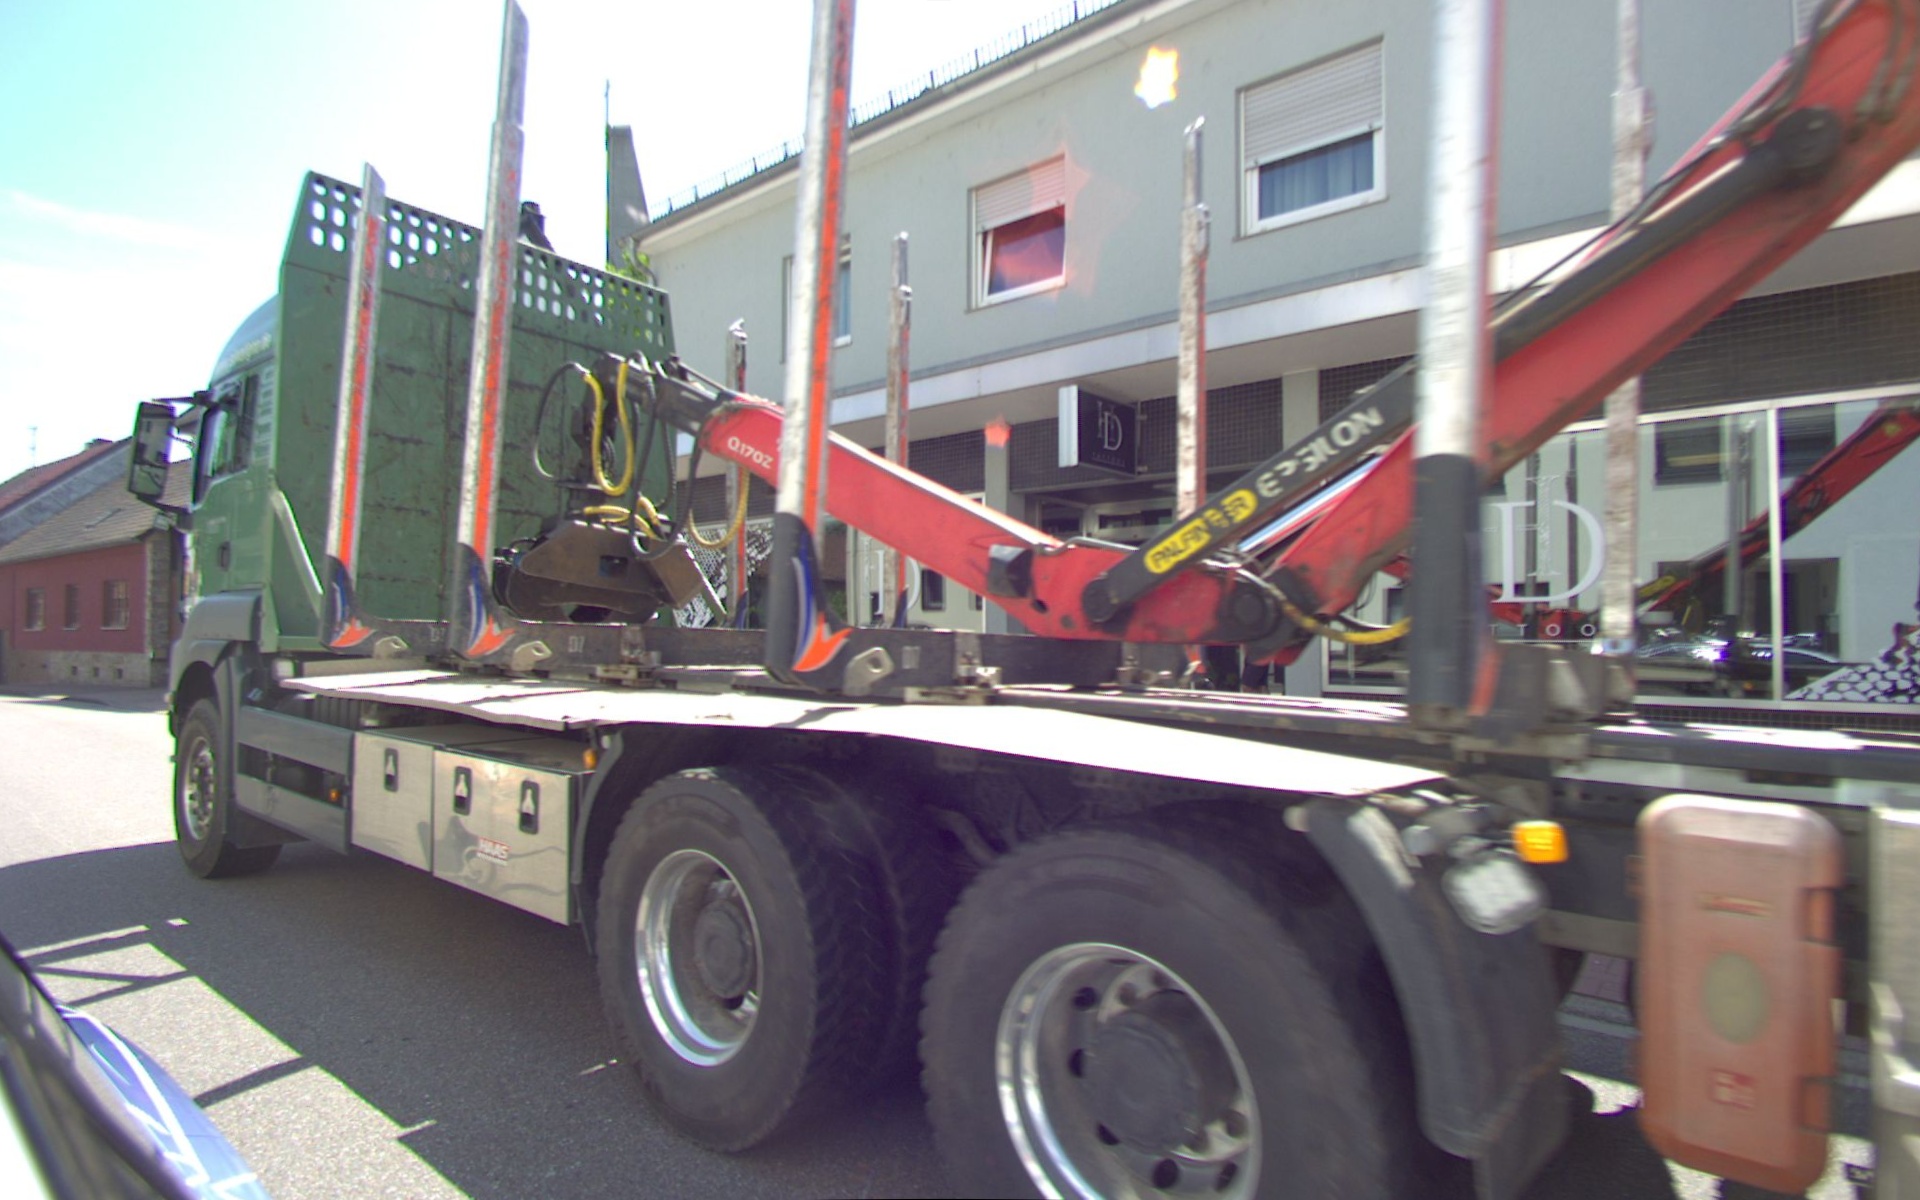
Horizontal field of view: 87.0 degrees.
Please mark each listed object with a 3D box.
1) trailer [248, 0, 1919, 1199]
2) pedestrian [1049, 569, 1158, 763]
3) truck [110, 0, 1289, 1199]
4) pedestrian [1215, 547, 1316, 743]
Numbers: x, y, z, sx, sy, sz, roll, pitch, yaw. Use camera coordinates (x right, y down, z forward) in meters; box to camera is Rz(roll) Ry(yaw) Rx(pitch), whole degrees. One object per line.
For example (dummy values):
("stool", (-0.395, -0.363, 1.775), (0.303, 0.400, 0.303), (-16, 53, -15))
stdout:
("trailer", (3.495, -0.574, 0.905), (15.683, 4.010, 2.604), (-1, -3, 40))
("pedestrian", (1.324, 0.583, 9.333), (0.770, 1.697, 0.618), (-1, -1, 40))
("truck", (-2.040, -0.465, 5.492), (6.845, 4.016, 2.592), (-1, -3, 40))
("pedestrian", (2.789, 0.396, 9.280), (0.655, 1.726, 0.632), (-1, 0, -9))
